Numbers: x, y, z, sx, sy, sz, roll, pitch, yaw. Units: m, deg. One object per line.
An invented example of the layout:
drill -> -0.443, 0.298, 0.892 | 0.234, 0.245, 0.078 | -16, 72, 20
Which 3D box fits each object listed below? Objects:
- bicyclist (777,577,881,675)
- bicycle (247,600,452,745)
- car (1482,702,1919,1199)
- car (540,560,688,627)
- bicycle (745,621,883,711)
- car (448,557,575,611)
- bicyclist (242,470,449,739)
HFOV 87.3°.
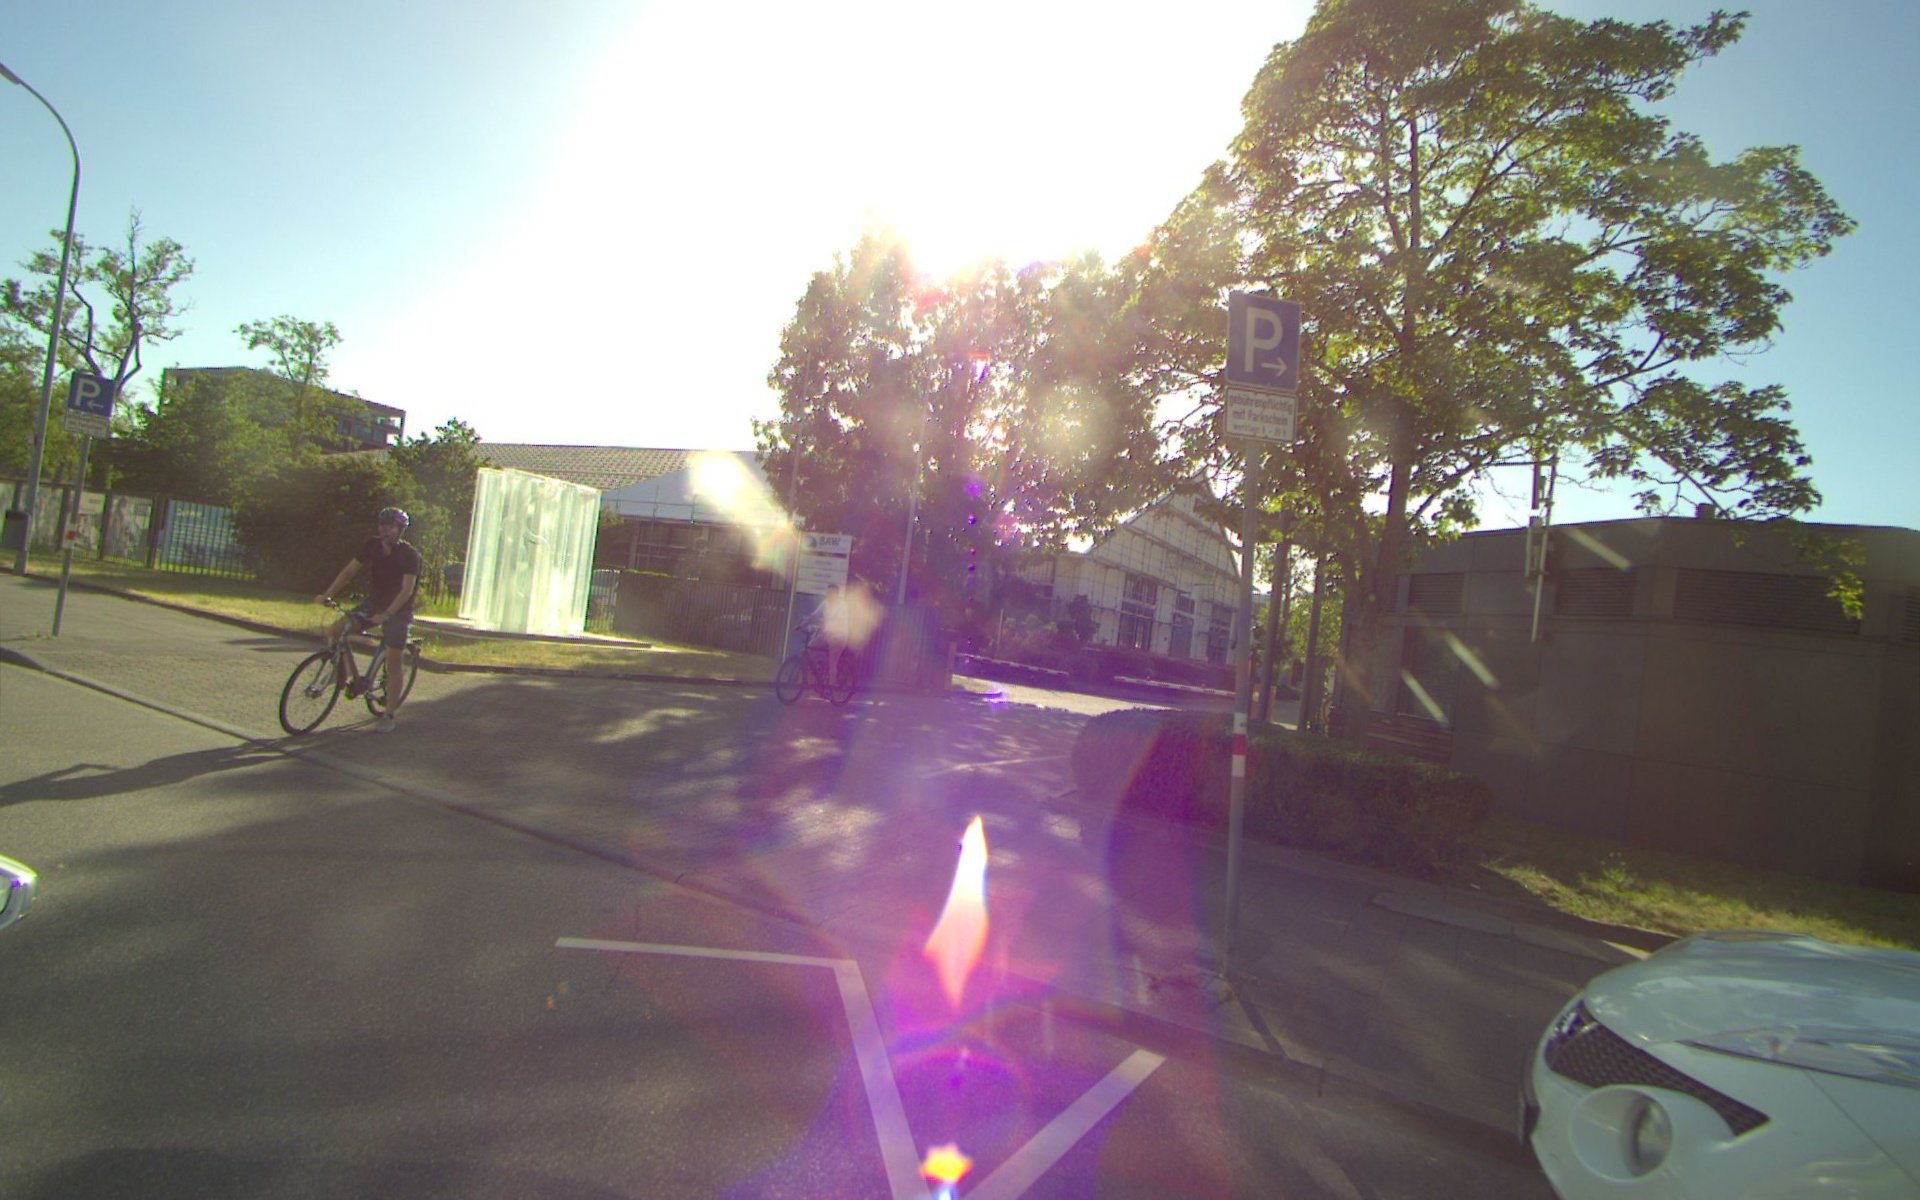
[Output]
bicyclist -> -1.941, 0.393, 14.957 | 0.851, 1.283, 1.094 | 7, -1, 44
bicycle -> -5.274, 0.575, 8.848 | 0.689, 1.021, 1.882 | 7, 1, -5
car -> 3.218, 1.267, 1.687 | 4.044, 1.530, 1.669 | 7, -3, 30
car -> -11.615, -0.162, 34.135 | 1.964, 1.687, 4.644 | 7, -2, 24
bicycle -> -2.125, 0.990, 14.859 | 0.659, 1.157, 1.892 | 8, 0, 44
car -> -15.999, -0.546, 36.073 | 1.645, 1.395, 3.900 | 7, -2, 26
bicyclist -> -5.182, 0.036, 8.569 | 0.942, 2.039, 1.051 | 7, 1, -5
